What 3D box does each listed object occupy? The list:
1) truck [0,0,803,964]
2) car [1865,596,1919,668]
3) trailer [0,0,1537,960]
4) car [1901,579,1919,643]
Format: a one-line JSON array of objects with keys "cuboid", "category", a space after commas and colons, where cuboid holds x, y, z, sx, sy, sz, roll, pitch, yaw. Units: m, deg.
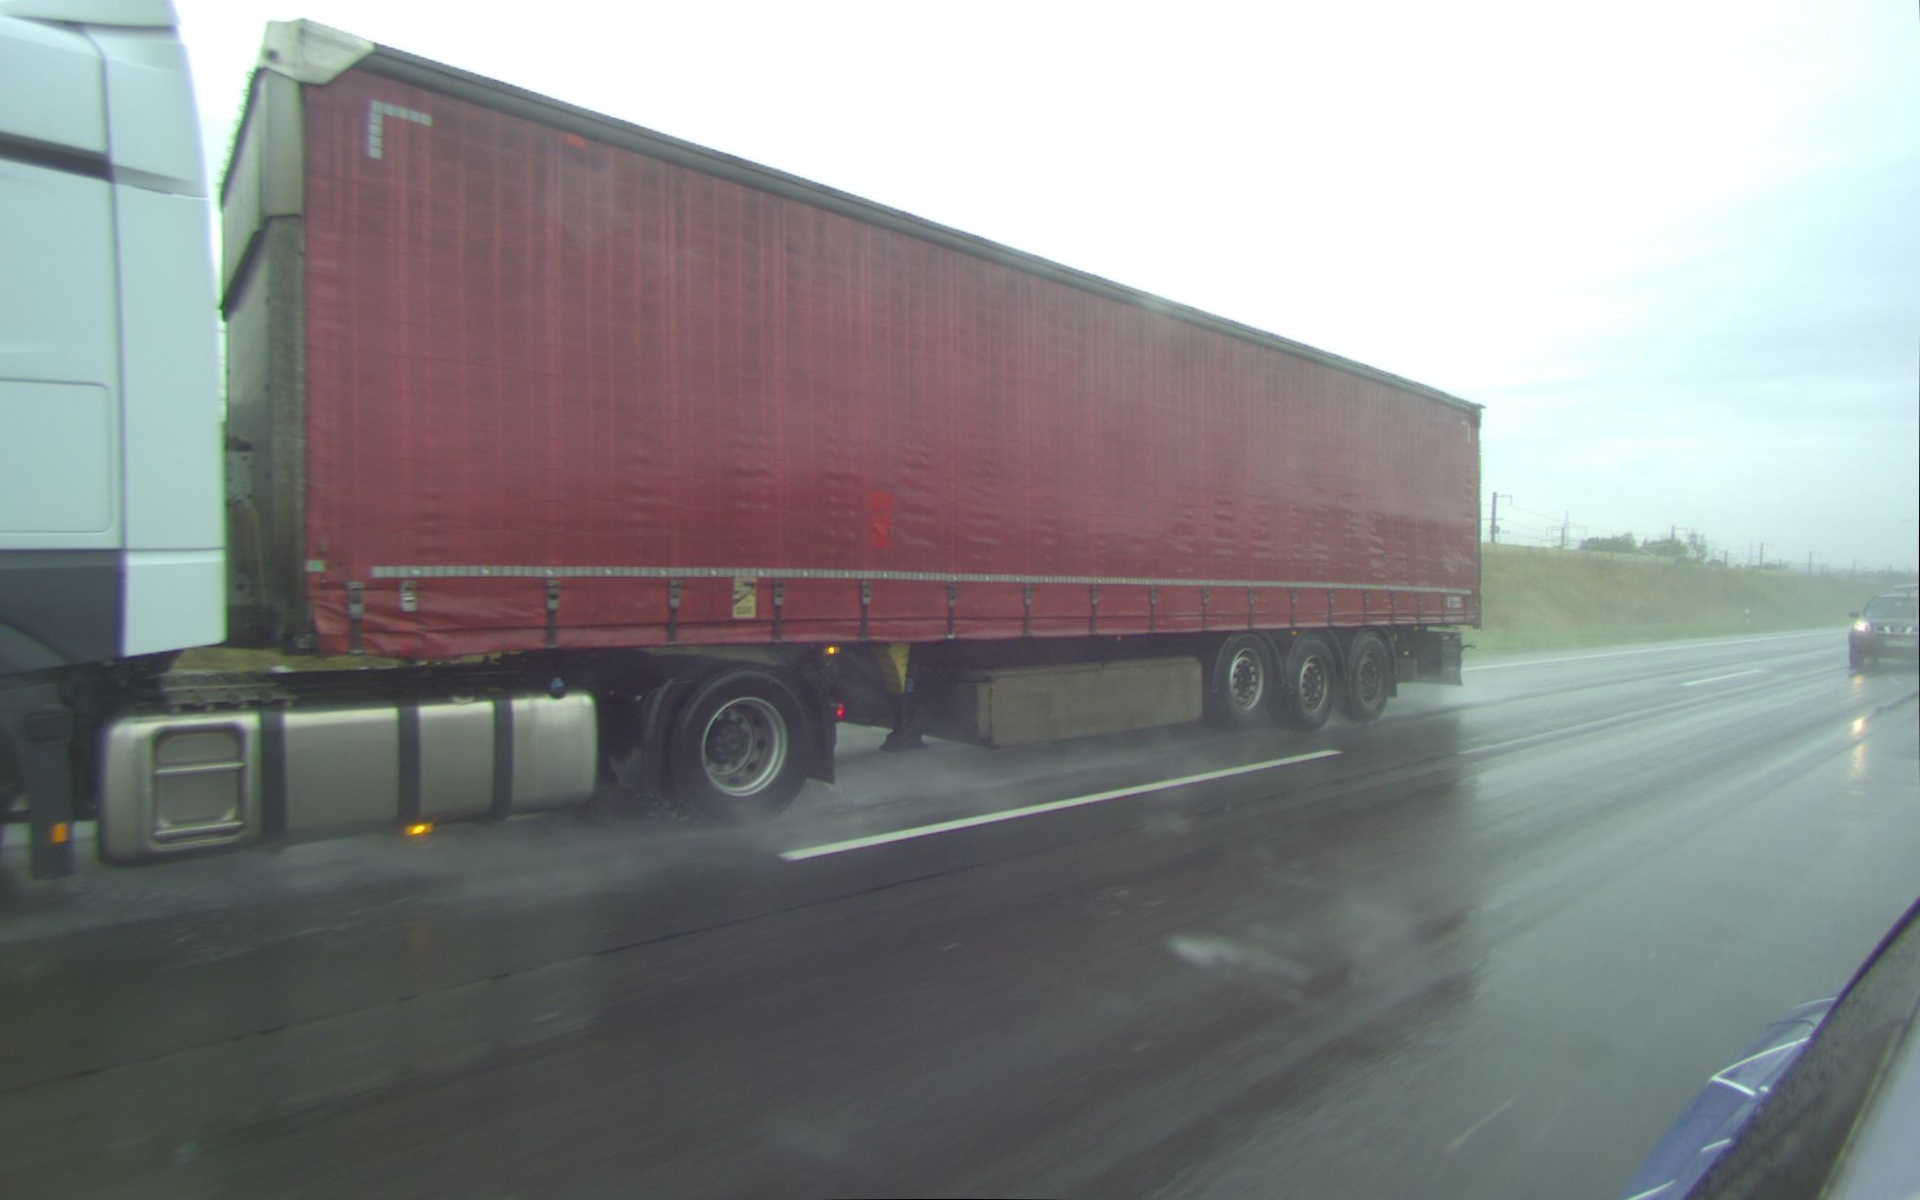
[{"cuboid": [-4.050, -0.595, 5.151, 6.091, 3.938, 2.455, 0, 0, -41], "category": "truck"}, {"cuboid": [22.051, 0.680, 23.084, 3.769, 1.519, 1.662, 0, 0, -41], "category": "car"}, {"cuboid": [1.482, -0.613, 10.106, 16.260, 3.813, 2.483, -1, 0, -42], "category": "trailer"}, {"cuboid": [26.050, 0.271, 26.706, 3.132, 1.636, 1.516, 0, 0, -42], "category": "car"}]
